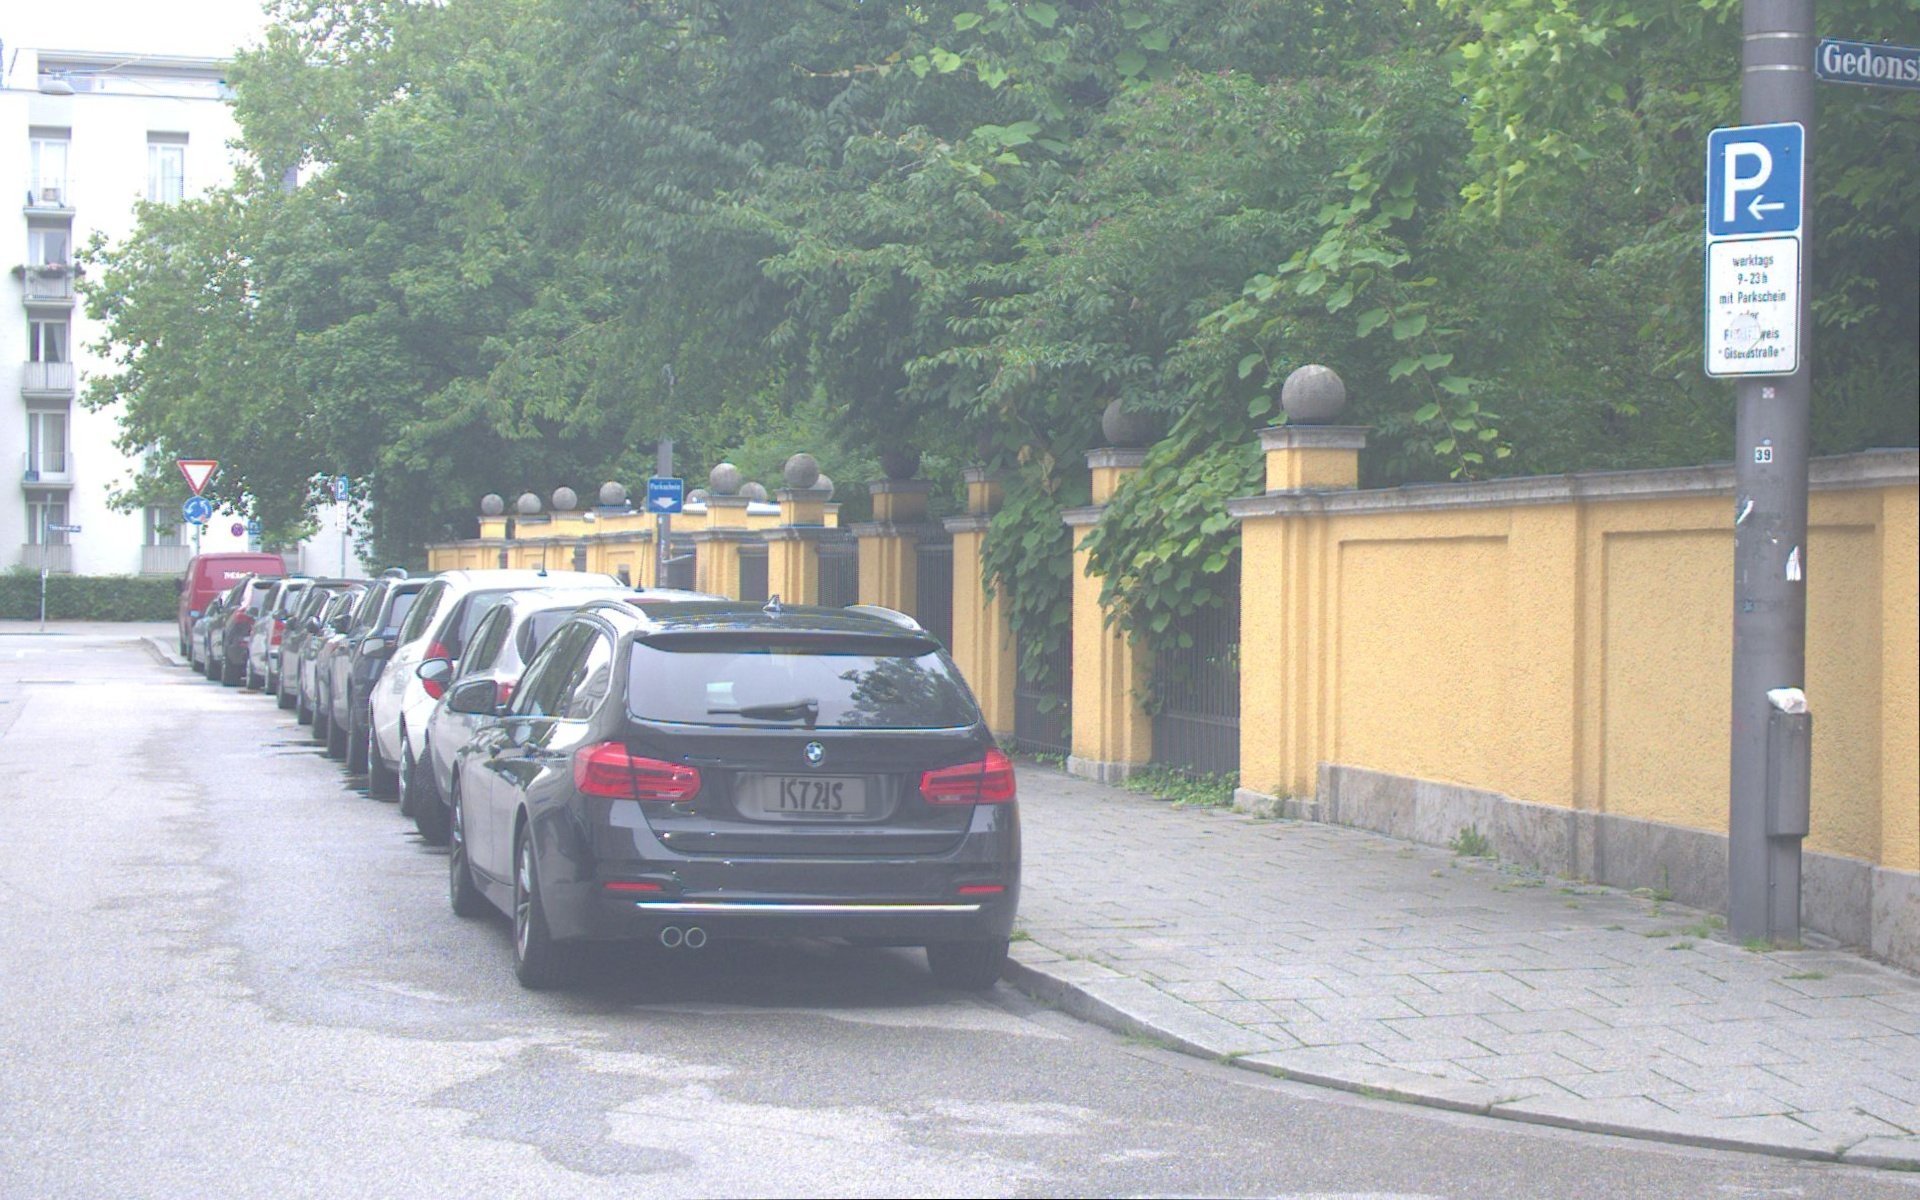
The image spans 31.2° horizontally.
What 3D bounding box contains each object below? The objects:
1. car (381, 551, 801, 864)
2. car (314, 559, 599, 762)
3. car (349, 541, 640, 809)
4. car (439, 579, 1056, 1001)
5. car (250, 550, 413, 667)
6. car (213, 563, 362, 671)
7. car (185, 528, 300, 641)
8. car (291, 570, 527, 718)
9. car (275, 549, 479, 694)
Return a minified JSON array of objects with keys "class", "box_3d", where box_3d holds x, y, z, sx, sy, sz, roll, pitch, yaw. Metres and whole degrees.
[{"class":"car","box_3d":[-2.109,0.529,18.730,1.652,1.513,3.796,1,0,-15]},{"class":"car","box_3d":[-4.254,0.468,28.587,1.838,1.546,3.949,1,0,-15]},{"class":"car","box_3d":[-3.227,0.471,23.329,1.513,1.656,3.675,1,0,-14]},{"class":"car","box_3d":[-1.027,0.651,13.810,1.838,1.408,4.343,1,0,-12]},{"class":"car","box_3d":[-8.694,0.110,47.352,1.838,1.513,3.949,1,0,-15]},{"class":"car","box_3d":[-10.060,0.245,51.240,1.838,1.513,3.949,1,0,-15]},{"class":"car","box_3d":[-13.070,-0.310,62.790,1.836,1.920,4.006,3,1,-10]},{"class":"car","box_3d":[-5.486,0.403,33.854,1.838,1.341,3.949,1,0,-15]},{"class":"car","box_3d":[-6.600,0.225,38.649,1.838,1.513,3.949,1,0,-15]}]
